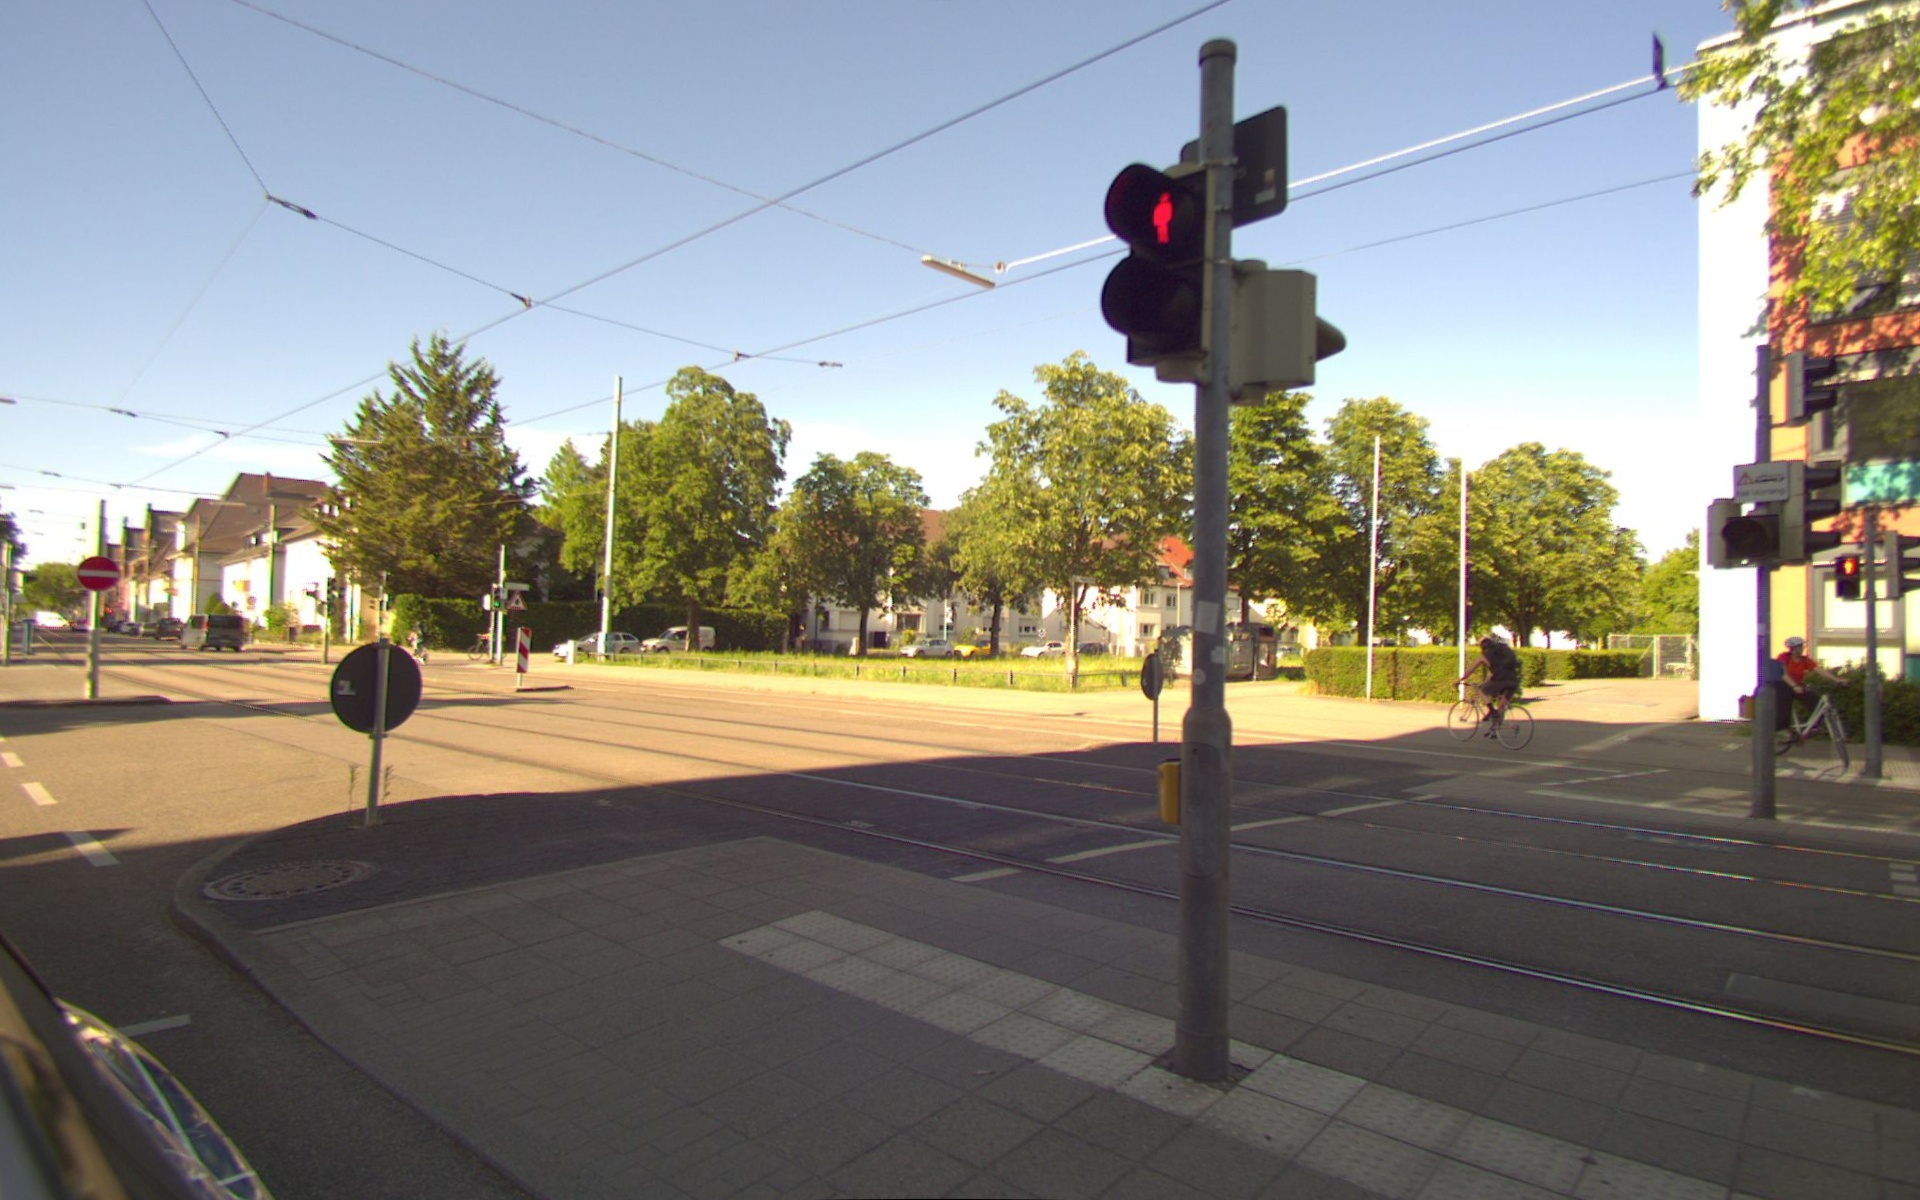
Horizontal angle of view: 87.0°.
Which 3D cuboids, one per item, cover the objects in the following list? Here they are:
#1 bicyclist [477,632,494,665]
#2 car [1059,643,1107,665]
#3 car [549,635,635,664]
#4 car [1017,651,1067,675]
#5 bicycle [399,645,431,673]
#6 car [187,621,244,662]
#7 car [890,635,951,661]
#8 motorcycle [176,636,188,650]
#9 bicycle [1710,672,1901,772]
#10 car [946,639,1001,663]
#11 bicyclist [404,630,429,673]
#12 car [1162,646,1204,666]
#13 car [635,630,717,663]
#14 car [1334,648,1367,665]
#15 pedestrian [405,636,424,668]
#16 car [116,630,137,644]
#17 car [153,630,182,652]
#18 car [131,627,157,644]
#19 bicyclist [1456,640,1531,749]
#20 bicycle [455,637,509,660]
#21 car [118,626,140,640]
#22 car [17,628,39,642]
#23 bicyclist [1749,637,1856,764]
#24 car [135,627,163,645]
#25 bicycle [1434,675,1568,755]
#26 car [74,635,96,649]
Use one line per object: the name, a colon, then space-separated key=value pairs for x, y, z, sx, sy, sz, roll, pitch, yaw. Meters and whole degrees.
bicyclist: x=-23.771 y=2.425 z=50.716 sx=0.550 sy=1.635 sz=0.900 roll=3 pitch=-3 yaw=-35
car: x=10.130 y=4.405 z=83.171 sx=3.826 sy=1.756 sz=1.819 roll=3 pitch=-3 yaw=-41
car: x=-19.548 y=2.640 z=53.817 sx=3.935 sy=1.444 sz=1.820 roll=3 pitch=-3 yaw=-38
car: x=6.498 y=4.963 z=79.864 sx=3.826 sy=1.756 sz=1.819 roll=3 pitch=-3 yaw=-41
bicycle: x=-22.317 y=2.420 z=41.454 sx=1.827 sy=1.122 sz=0.580 roll=-2 pitch=-5 yaw=44
car: x=-39.871 y=2.271 z=54.126 sx=1.994 sy=2.029 sz=5.258 roll=5 pitch=-6 yaw=-40
car: x=-2.792 y=3.426 z=72.018 sx=4.136 sy=1.756 sz=1.819 roll=3 pitch=-3 yaw=-41
motorcycle: x=-60.616 y=3.315 z=78.799 sx=0.596 sy=1.054 sz=2.440 roll=0 pitch=-2 yaw=-41
bicycle: x=11.830 y=1.666 z=14.261 sx=0.623 sy=1.138 sz=2.042 roll=0 pitch=0 yaw=-18
car: x=0.994 y=3.780 z=75.085 sx=3.826 sy=1.756 sz=1.819 roll=3 pitch=-3 yaw=-41
bicyclist: x=-22.267 y=2.108 z=41.435 sx=0.901 sy=1.724 sz=0.580 roll=-2 pitch=-5 yaw=44
car: x=20.247 y=5.080 z=91.944 sx=3.826 sy=1.756 sz=1.819 roll=3 pitch=-3 yaw=-41
car: x=-16.756 y=2.755 z=59.782 sx=4.248 sy=1.881 sz=1.819 roll=2 pitch=-3 yaw=-41
car: x=43.277 y=6.257 z=112.103 sx=3.826 sy=1.756 sz=1.819 roll=3 pitch=-3 yaw=-41
pedestrian: x=-26.864 y=2.544 z=49.862 sx=0.615 sy=1.568 sz=0.679 roll=-1 pitch=-1 yaw=-2
car: x=-104.809 y=4.670 z=127.286 sx=1.896 sy=1.728 sz=4.005 roll=0 pitch=-1 yaw=-42
car: x=-70.520 y=3.632 z=90.034 sx=1.895 sy=1.915 sz=4.006 roll=0 pitch=-2 yaw=-41
car: x=-84.903 y=3.717 z=105.277 sx=1.896 sy=1.728 sz=4.004 roll=0 pitch=-2 yaw=-43
bicyclist: x=8.358 y=1.453 z=15.865 sx=0.636 sy=1.624 sz=0.783 roll=0 pitch=-1 yaw=-17
bicycle: x=-23.901 y=2.444 z=50.626 sx=2.249 sy=1.126 sz=0.932 roll=3 pitch=-3 yaw=-36
car: x=-95.272 y=3.770 z=116.073 sx=1.895 sy=1.577 sz=4.007 roll=0 pitch=-2 yaw=-39
car: x=-117.845 y=4.416 z=127.949 sx=1.895 sy=1.728 sz=4.006 roll=0 pitch=-2 yaw=-41
bicyclist: x=11.837 y=1.380 z=14.239 sx=0.596 sy=1.705 sz=0.935 roll=0 pitch=-1 yaw=-18
car: x=-80.747 y=3.554 z=100.736 sx=1.896 sy=1.728 sz=4.004 roll=0 pitch=-2 yaw=-42
bicycle: x=8.391 y=1.758 z=15.797 sx=0.636 sy=1.050 sz=1.931 roll=0 pitch=-1 yaw=-17
car: x=-107.469 y=5.141 z=124.302 sx=1.895 sy=1.728 sz=4.007 roll=0 pitch=-2 yaw=-39
